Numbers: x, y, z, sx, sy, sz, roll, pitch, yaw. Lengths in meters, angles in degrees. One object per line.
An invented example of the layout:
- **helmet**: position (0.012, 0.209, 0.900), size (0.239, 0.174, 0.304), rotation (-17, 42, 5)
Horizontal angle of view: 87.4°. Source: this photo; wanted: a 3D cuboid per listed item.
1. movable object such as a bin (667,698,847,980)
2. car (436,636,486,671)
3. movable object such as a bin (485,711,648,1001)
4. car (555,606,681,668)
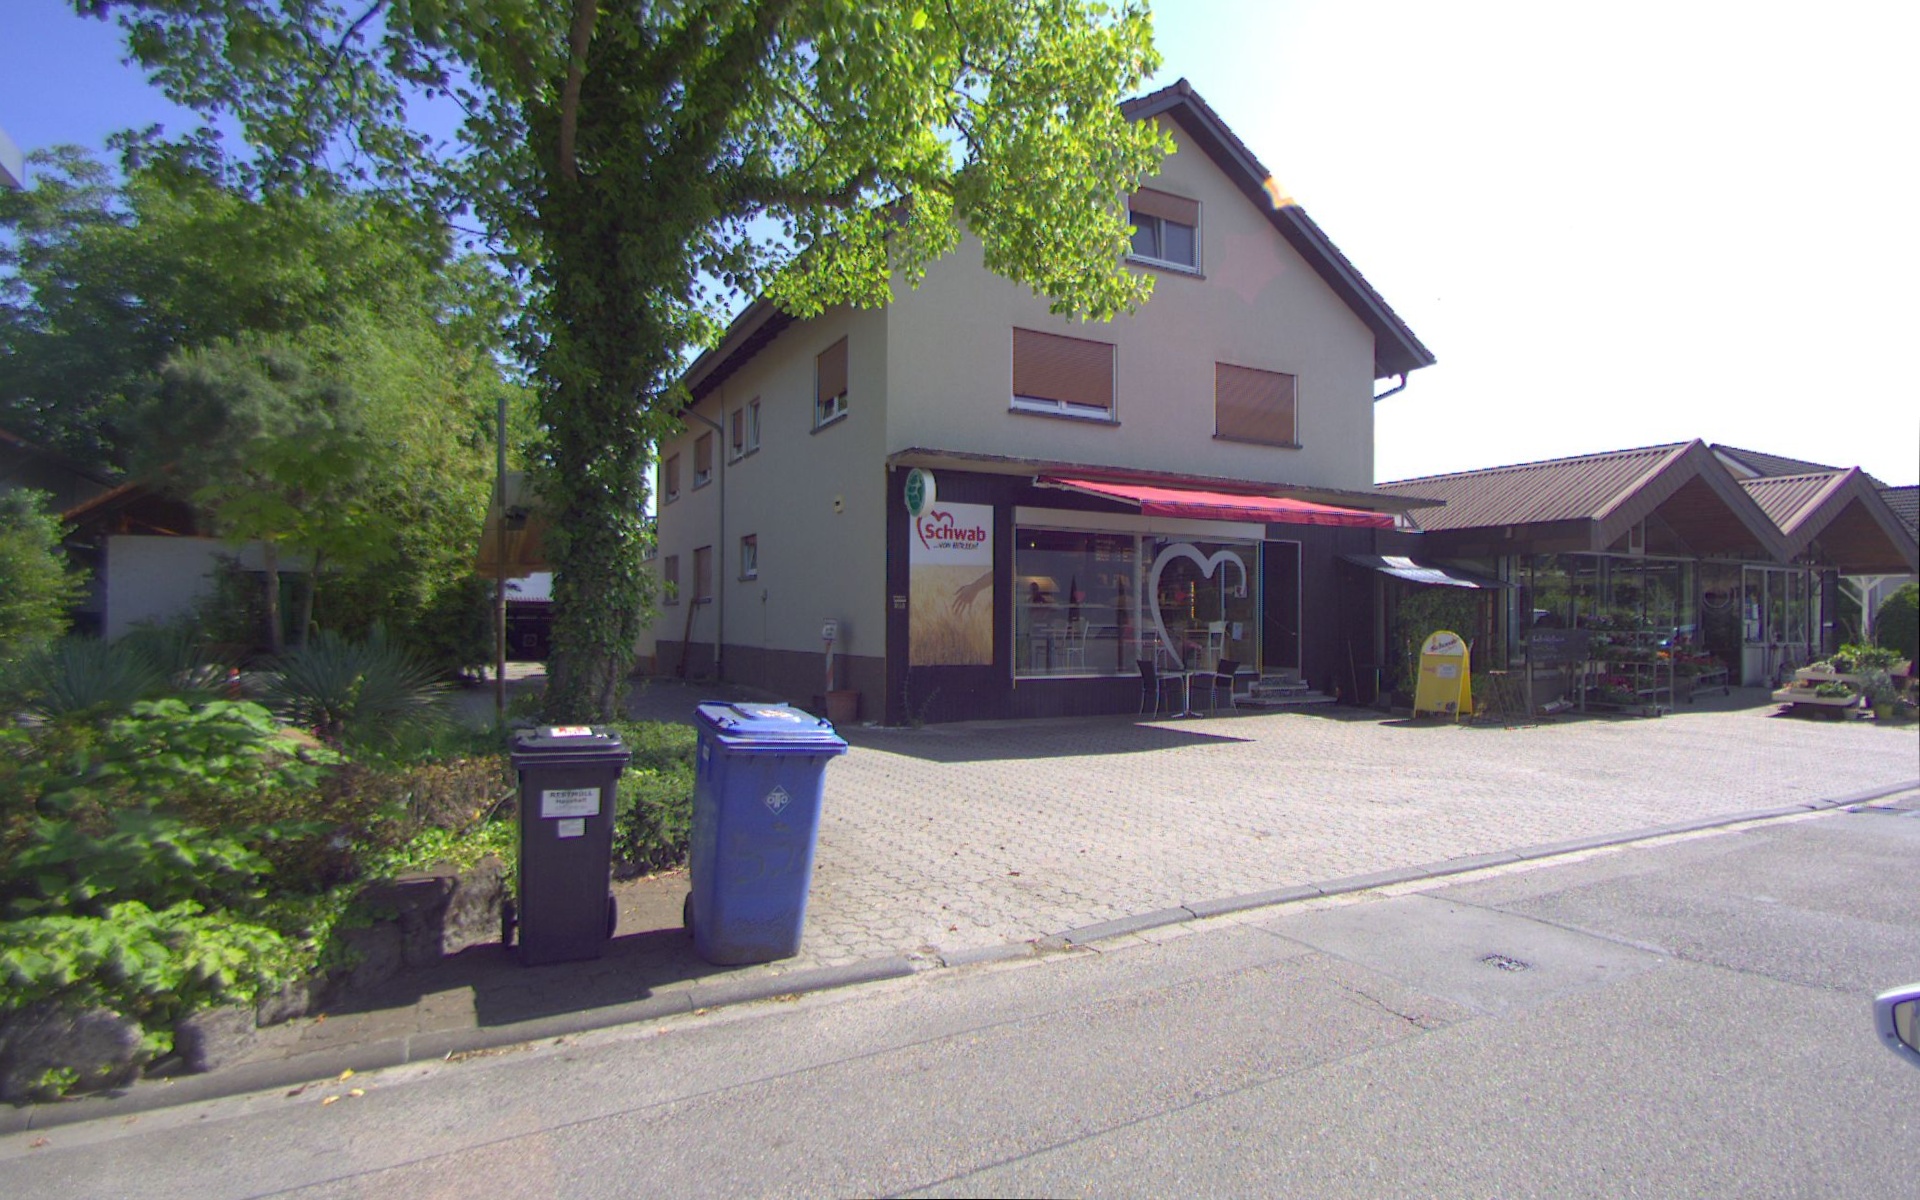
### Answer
- **movable object such as a bin**: position (-0.938, 1.021, 4.566), size (0.605, 1.068, 0.727), rotation (1, 0, -29)
- **car**: position (-22.386, 2.360, 45.151), size (1.877, 1.461, 3.976), rotation (1, -2, -25)
- **movable object such as a bin**: position (-1.679, 1.028, 4.257), size (0.561, 1.038, 0.580), rotation (1, 0, -29)
- **car**: position (-14.172, 1.536, 41.650), size (4.596, 2.441, 2.177), rotation (1, -2, -31)
